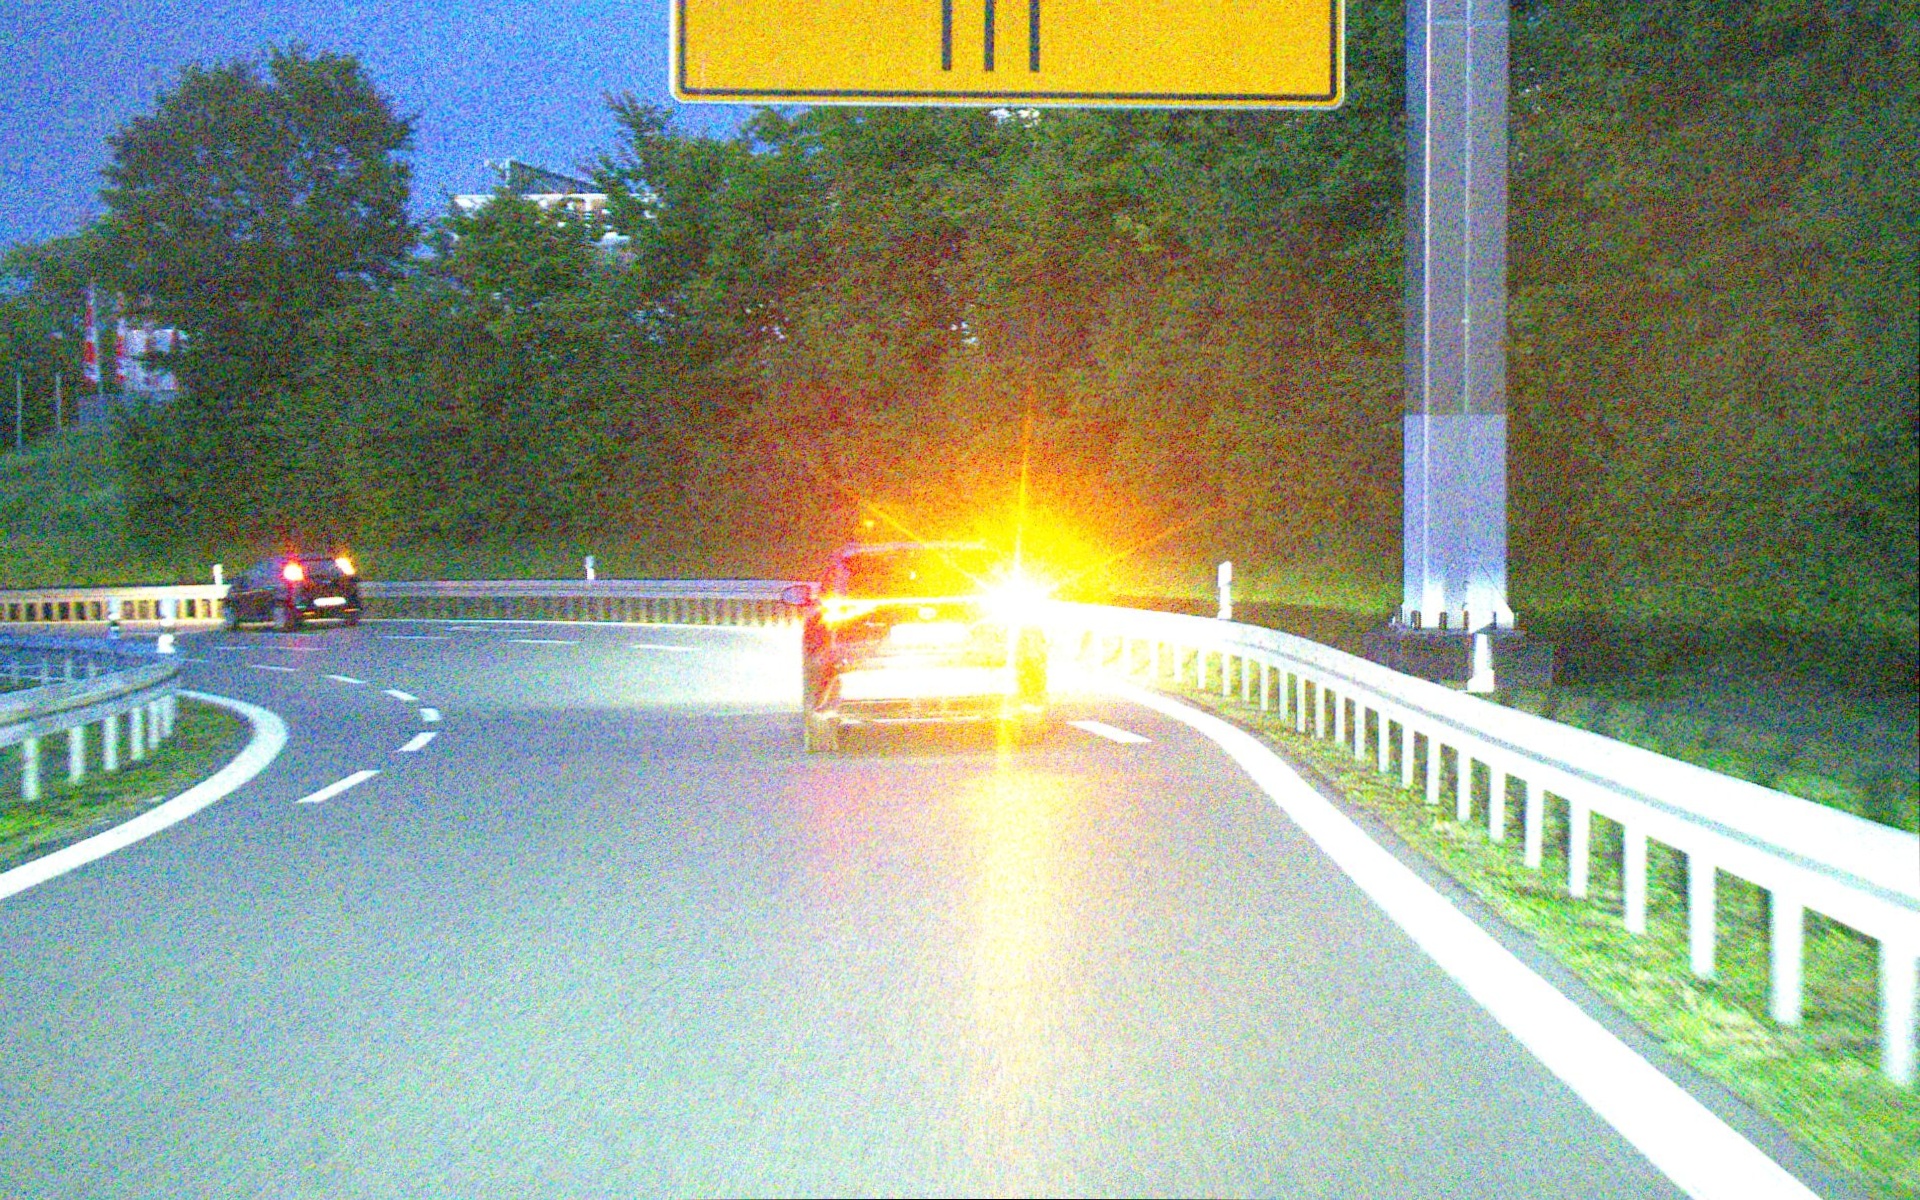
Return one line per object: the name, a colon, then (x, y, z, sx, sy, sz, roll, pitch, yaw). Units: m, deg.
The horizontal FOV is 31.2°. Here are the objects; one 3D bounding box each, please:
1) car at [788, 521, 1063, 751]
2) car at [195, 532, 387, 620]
car: (-0.263, 0.230, 27.368, 1.993, 1.653, 4.315, -1, 1, 0)
car: (-13.408, -0.489, 68.803, 1.994, 1.593, 3.999, 2, 1, -41)
